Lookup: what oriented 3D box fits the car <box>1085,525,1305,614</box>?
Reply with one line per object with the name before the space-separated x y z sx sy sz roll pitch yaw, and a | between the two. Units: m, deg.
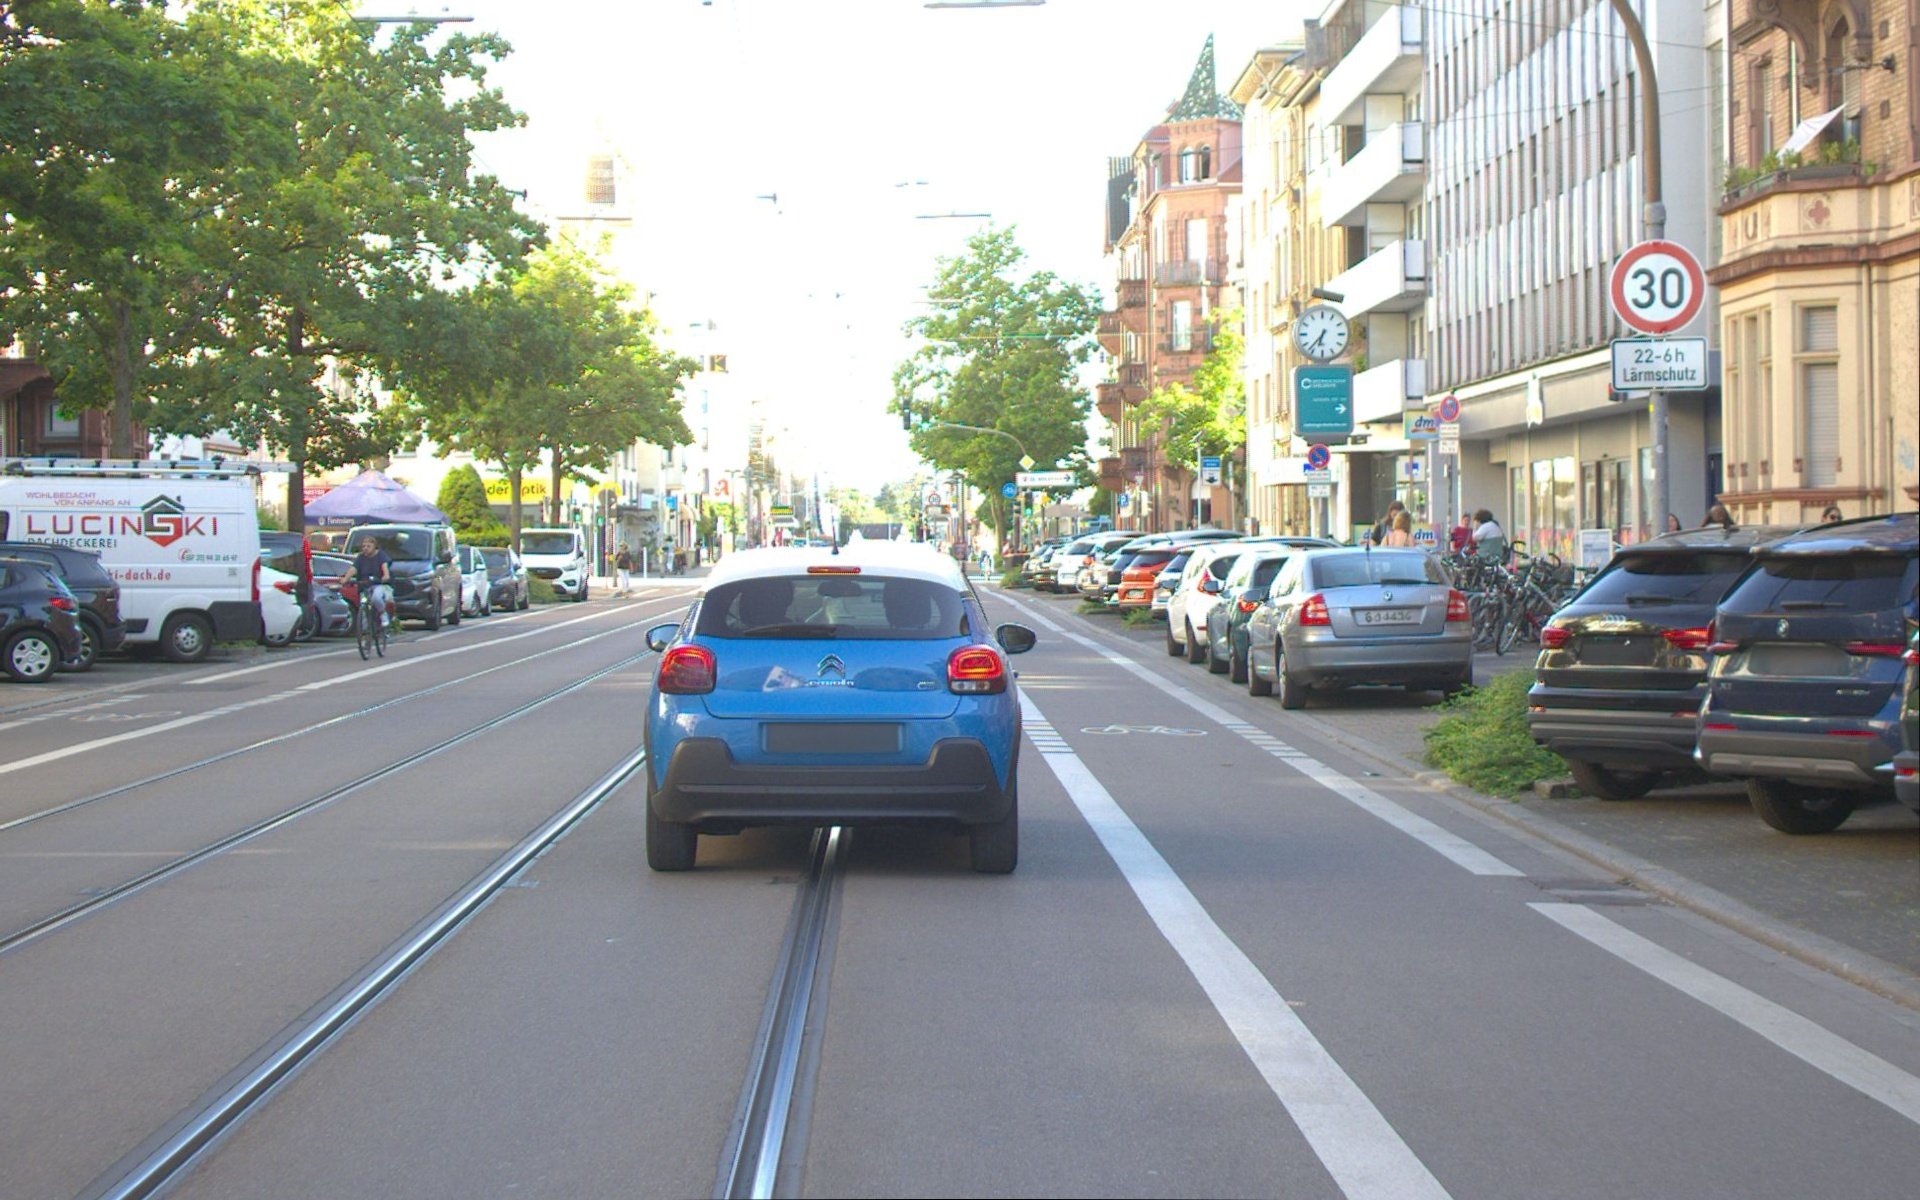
car | 4.524 -0.583 66.068 3.719 1.646 2.048 0 1 -33

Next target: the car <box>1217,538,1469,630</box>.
car | 6.331 -0.269 56.787 3.774 1.482 1.838 0 1 -30

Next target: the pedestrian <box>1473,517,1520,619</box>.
pedestrian | 9.265 -0.549 59.379 0.692 1.750 0.678 0 0 -1

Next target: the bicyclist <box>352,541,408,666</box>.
bicyclist | -7.858 0.044 46.558 0.634 1.676 0.727 0 0 -1

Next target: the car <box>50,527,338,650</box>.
car | -11.659 -0.173 52.370 3.986 1.810 1.713 0 1 -26

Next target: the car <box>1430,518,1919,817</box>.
car | 5.047 0.346 20.325 4.303 1.590 1.982 0 1 -36

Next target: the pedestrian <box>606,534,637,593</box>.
pedestrian | -9.875 -1.069 100.309 0.729 1.720 0.628 0 0 -25

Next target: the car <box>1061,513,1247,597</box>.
car | 3.910 -0.893 69.134 3.442 1.634 1.684 0 1 -37

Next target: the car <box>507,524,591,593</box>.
car | -11.241 -1.133 94.169 1.831 1.841 4.214 0 1 -1

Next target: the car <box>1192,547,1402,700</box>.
car | 3.665 0.222 37.986 1.873 1.590 4.000 0 1 -1

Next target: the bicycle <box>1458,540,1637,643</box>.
bicycle | 7.039 -0.104 41.260 2.019 1.217 0.664 0 0 -1

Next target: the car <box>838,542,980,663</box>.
car | -0.694 0.007 47.535 1.873 1.590 4.000 0 1 -1

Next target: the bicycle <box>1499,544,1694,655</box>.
bicycle | 7.143 -0.010 38.621 2.056 1.217 0.664 0 0 -2

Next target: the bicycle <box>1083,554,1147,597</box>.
bicycle | 3.817 -0.616 84.685 0.553 1.044 1.807 0 1 -36

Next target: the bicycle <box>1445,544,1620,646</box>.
bicycle | 6.997 -0.062 42.049 2.019 1.217 0.664 0 0 -1

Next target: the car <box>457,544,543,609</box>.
car | -10.732 -0.552 80.382 1.747 1.482 4.043 0 1 -4

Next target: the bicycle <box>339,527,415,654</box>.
bicycle | -7.873 -0.136 46.495 0.680 1.673 2.097 0 1 -1

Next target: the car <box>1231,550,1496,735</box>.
car | 3.695 0.345 32.268 1.873 1.590 4.719 0 1 -1

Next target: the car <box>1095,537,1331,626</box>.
car | 4.470 -0.332 60.614 3.719 1.515 1.968 0 1 -33

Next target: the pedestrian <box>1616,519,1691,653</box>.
pedestrian | 8.525 -0.173 42.271 0.712 1.601 0.654 -3 0 -2

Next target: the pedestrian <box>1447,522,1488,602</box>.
pedestrian | 10.019 -0.751 67.926 0.692 1.582 0.678 0 0 -1

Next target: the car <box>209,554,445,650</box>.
car | -10.953 0.032 59.452 3.722 1.617 1.789 0 1 -22

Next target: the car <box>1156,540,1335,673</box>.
car | 3.551 0.059 43.395 1.873 1.590 4.000 0 1 -1

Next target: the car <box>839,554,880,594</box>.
car | -3.643 -0.949 124.681 1.423 1.427 3.139 0 1 -1

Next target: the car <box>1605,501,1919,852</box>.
car | 5.533 0.338 17.385 3.986 1.590 2.088 0 1 -25

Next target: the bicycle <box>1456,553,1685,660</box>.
bicycle | 7.125 0.070 40.191 2.538 1.217 0.664 0 0 -1

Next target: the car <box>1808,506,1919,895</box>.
car | 5.854 0.419 14.662 3.986 1.590 1.960 0 1 -25

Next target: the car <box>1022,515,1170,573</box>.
car | 3.741 -1.540 94.809 3.653 1.568 1.861 0 1 -20

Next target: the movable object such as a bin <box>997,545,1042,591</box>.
movable object such as a bin | 1.904 -1.038 110.678 1.394 1.478 1.655 0 1 -1

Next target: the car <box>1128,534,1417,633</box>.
car | 4.923 -0.258 53.907 4.439 1.503 1.536 0 1 -30

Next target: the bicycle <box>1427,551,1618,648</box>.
bicycle | 7.230 -0.011 44.240 2.358 1.217 0.664 0 0 3

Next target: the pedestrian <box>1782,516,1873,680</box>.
pedestrian | 8.554 -0.020 33.918 0.711 1.601 0.654 0 0 -2

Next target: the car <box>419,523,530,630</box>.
car | -9.305 -0.460 66.171 1.747 1.967 5.241 0 1 -4

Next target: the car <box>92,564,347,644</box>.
car | -11.998 0.064 55.727 3.796 1.261 1.516 0 1 -26

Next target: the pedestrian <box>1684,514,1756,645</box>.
pedestrian | 9.373 -0.258 42.398 0.711 1.601 0.654 0 0 -2

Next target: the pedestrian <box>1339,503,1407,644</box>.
pedestrian | 4.930 -0.315 41.065 0.711 1.666 0.654 0 0 -2

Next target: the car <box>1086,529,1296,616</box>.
car | 4.246 -0.500 63.139 3.441 1.550 1.824 0 1 -32

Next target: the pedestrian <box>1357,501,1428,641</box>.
pedestrian | 5.012 -0.339 39.837 0.711 1.601 0.654 0 0 -2

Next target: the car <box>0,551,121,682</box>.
car | -11.707 0.172 39.327 3.986 1.484 1.807 0 1 -17

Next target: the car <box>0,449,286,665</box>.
car | -11.702 -0.555 44.932 5.370 2.739 1.806 0 1 -30

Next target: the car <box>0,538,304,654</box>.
car | -12.053 -0.064 49.688 4.756 1.612 1.712 0 1 -33

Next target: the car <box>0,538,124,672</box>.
car | -12.356 0.050 41.804 3.986 1.612 1.713 0 1 -26

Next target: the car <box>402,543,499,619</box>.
car | -11.092 -0.423 75.041 1.747 1.612 4.411 0 1 -4

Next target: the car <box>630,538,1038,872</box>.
car | -0.584 0.438 16.698 1.762 1.436 3.557 0 1 -1
